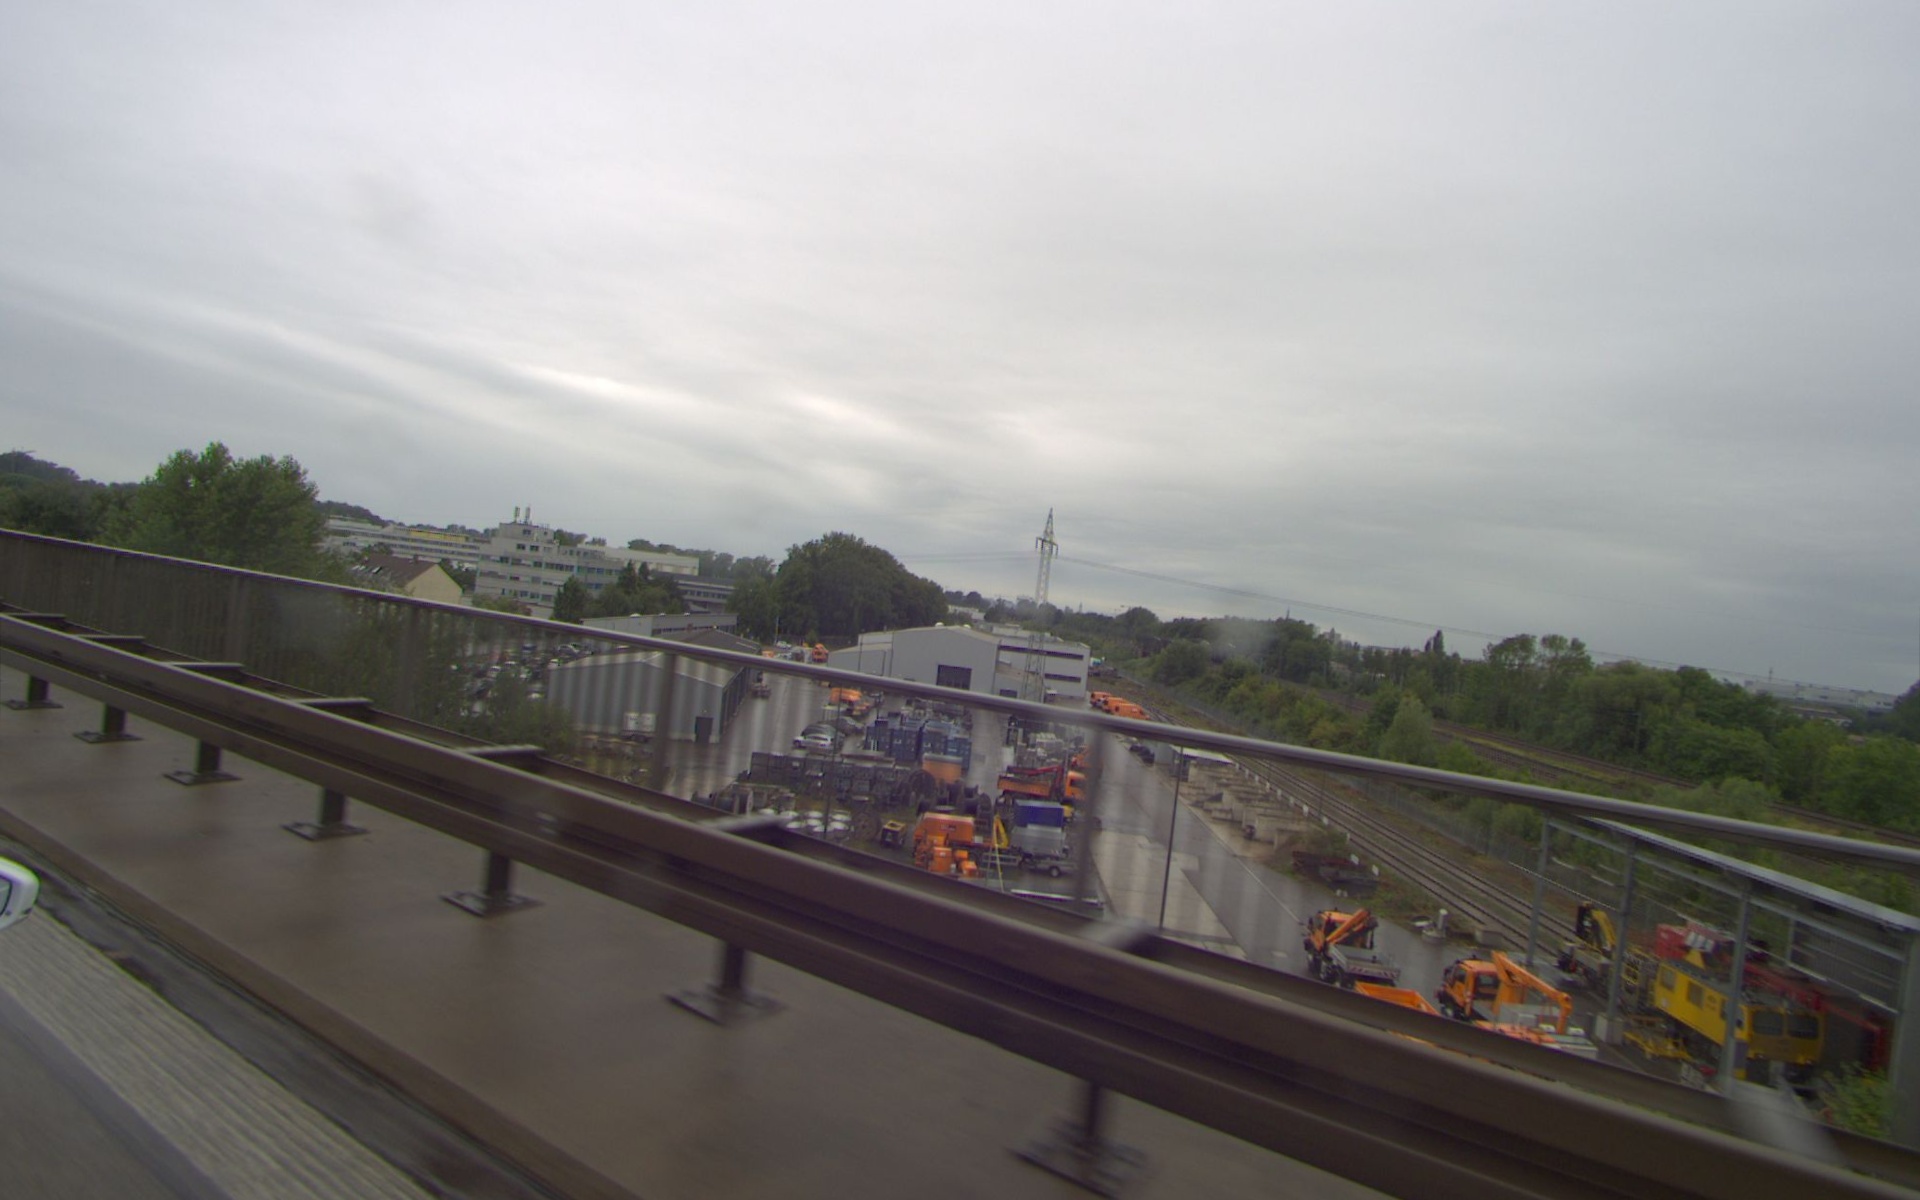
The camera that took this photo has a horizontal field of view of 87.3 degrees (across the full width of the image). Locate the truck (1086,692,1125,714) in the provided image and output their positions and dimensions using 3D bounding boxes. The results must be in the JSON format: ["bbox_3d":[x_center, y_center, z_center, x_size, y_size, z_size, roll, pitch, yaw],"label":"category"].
[{"bbox_3d":[26.622,18.793,183.787,6.486,3.220,2.100,7,-2,-15],"label":"truck"}]

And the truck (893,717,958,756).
[{"bbox_3d":[-3.594,14.366,105.967,6.468,3.220,2.106,7,-2,-2],"label":"truck"}]

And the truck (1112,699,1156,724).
[{"bbox_3d":[28.049,18.062,162.304,6.486,3.220,2.100,7,-2,-15],"label":"truck"}]

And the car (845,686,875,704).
[{"bbox_3d":[-14.034,13.360,141.242,3.928,2.036,2.001,7,-2,-4],"label":"car"}]

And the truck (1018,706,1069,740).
[{"bbox_3d":[11.665,17.159,140.917,6.468,3.853,2.106,7,-2,-2],"label":"truck"}]

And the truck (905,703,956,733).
[{"bbox_3d":[-4.020,15.957,136.234,6.468,3.220,2.106,7,-2,-2],"label":"truck"}]

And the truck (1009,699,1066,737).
[{"bbox_3d":[9.557,14.577,124.457,6.468,3.853,2.106,7,-2,-2],"label":"truck"}]

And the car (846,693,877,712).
[{"bbox_3d":[-13.168,13.749,134.736,3.928,2.036,2.001,7,-2,-4],"label":"car"}]

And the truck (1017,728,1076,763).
[{"bbox_3d":[10.236,17.143,118.989,6.468,3.220,2.106,7,-2,-2],"label":"truck"}]

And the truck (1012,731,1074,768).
[{"bbox_3d":[9.435,17.017,114.536,6.468,3.220,2.106,7,-2,-2],"label":"truck"}]

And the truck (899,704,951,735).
[{"bbox_3d":[-4.653,15.689,132.443,6.468,3.220,2.106,7,-2,-2],"label":"truck"}]

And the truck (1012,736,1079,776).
[{"bbox_3d":[8.890,16.269,105.003,6.468,3.220,2.106,7,-2,-2],"label":"truck"}]

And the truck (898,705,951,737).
[{"bbox_3d":[-4.581,15.536,129.267,6.468,3.220,2.106,7,-2,-2],"label":"truck"}]

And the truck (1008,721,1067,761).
[{"bbox_3d":[9.379,17.109,122.050,6.468,3.853,2.106,7,-2,-2],"label":"truck"}]

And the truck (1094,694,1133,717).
[{"bbox_3d":[27.480,18.936,180.189,6.486,3.220,2.100,7,-2,-15],"label":"truck"}]

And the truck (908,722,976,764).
[{"bbox_3d":[-1.843,14.338,100.910,6.468,3.220,2.106,7,-2,-2],"label":"truck"}]

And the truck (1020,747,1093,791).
[{"bbox_3d":[9.261,16.215,96.795,6.468,3.220,2.106,7,-2,-2],"label":"truck"}]

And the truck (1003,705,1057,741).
[{"bbox_3d":[9.068,15.896,130.125,6.468,3.853,2.106,7,-2,-2],"label":"truck"}]

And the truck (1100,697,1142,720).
[{"bbox_3d":[27.491,18.494,171.508,6.486,3.220,2.100,7,-2,-15],"label":"truck"}]
